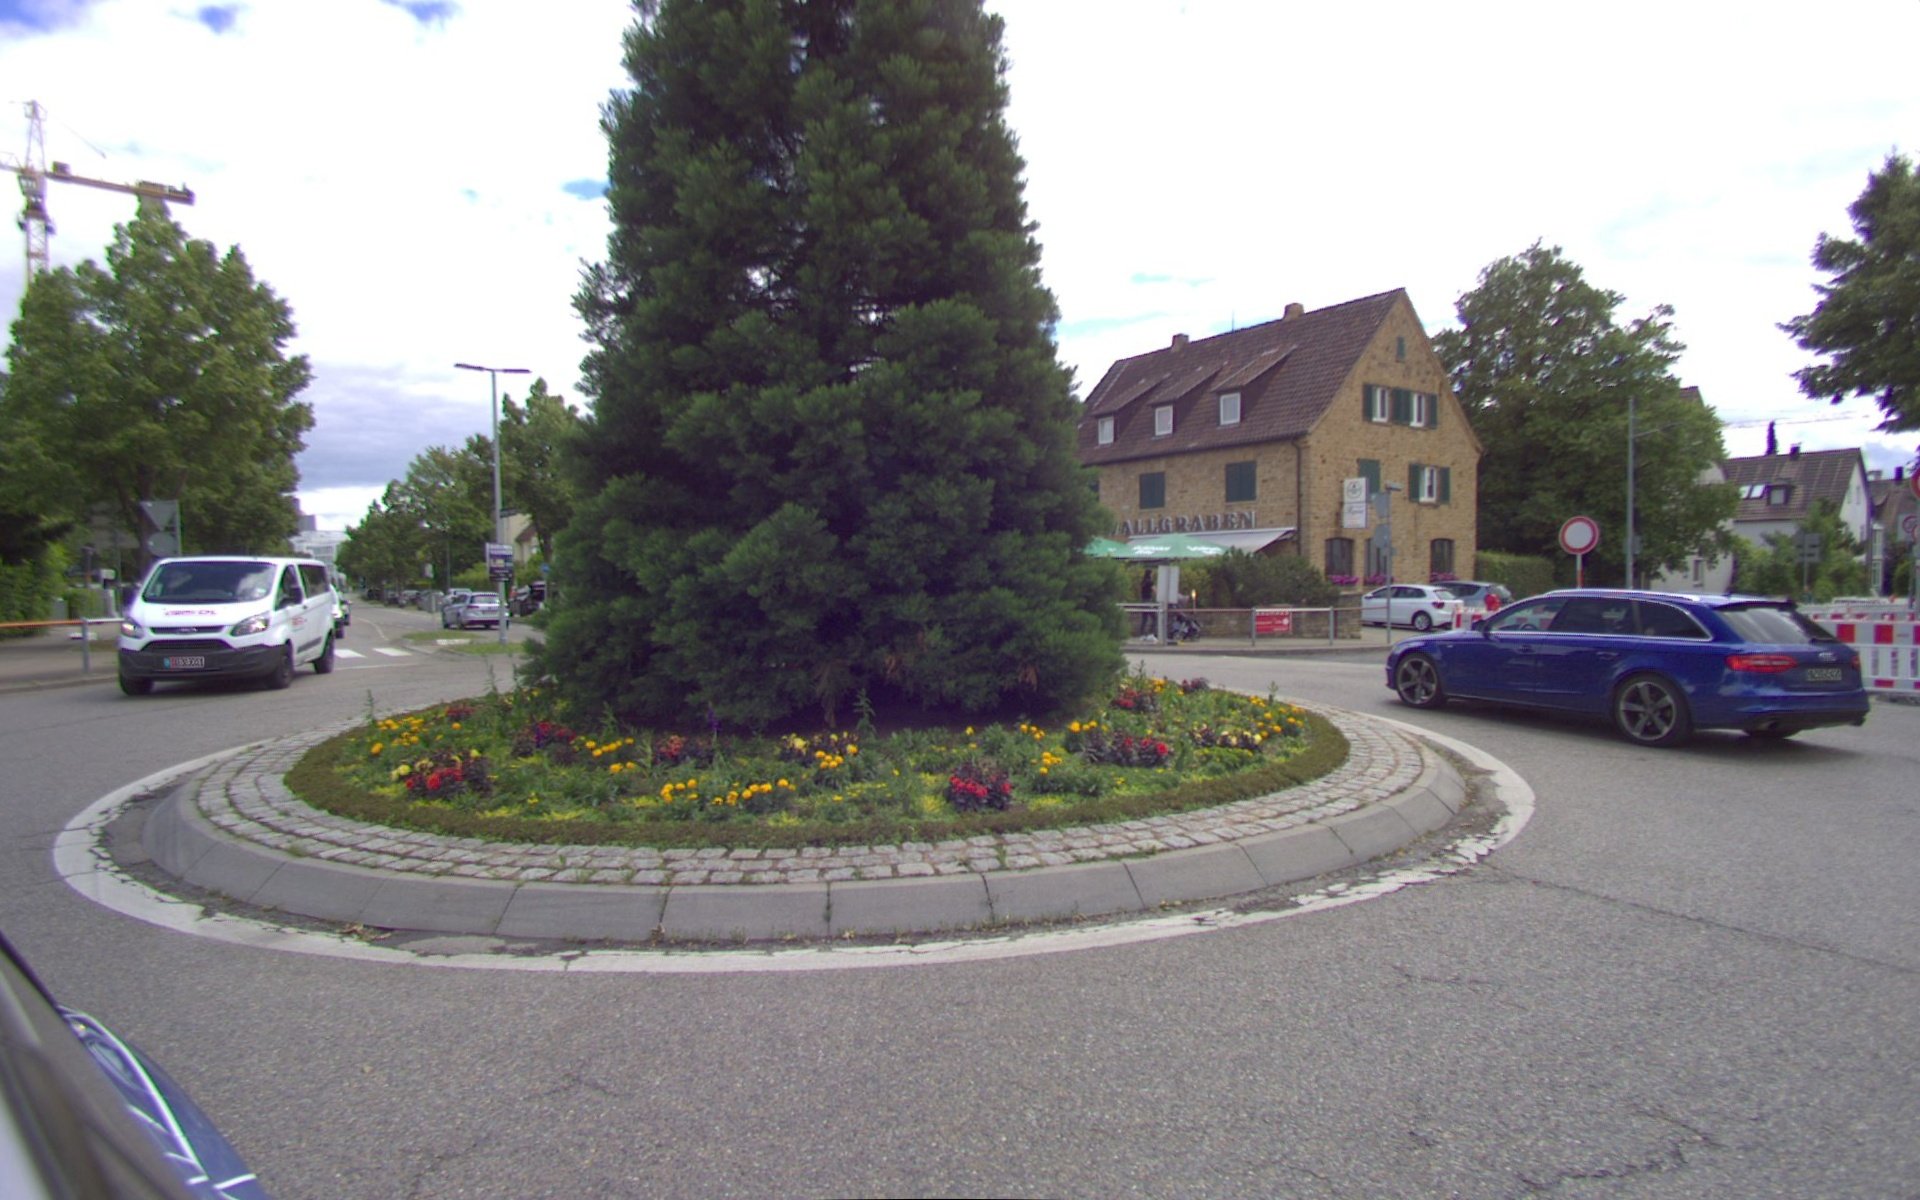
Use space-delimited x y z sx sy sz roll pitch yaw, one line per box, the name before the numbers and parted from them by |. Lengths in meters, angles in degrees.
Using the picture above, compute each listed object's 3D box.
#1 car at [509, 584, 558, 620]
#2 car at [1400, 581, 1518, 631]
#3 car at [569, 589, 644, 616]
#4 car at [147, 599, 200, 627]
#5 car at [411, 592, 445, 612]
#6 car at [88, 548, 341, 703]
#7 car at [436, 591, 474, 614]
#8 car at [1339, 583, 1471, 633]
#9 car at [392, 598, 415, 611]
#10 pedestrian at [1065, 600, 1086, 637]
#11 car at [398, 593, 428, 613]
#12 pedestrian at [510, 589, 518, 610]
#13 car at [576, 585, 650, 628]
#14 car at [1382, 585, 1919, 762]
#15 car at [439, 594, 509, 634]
car | -22.999 0.094 54.506 1.723 1.843 4.059 -2 1 -33
car | 16.495 0.156 33.571 1.374 1.512 3.239 -1 3 -33
car | -21.853 0.149 62.598 3.984 1.551 1.755 -2 1 -41
car | -40.557 0.651 52.246 1.782 1.352 4.011 -2 1 -33
car | -41.164 0.141 78.248 1.639 1.486 3.754 -2 1 -38
car | -11.432 0.298 15.987 1.965 2.029 5.067 -1 1 -22
car | -36.300 0.150 72.739 1.734 1.573 3.754 -2 1 -38
car | 14.265 0.219 32.635 1.444 1.430 3.684 -1 3 -33
car | -51.380 0.416 93.481 1.474 1.175 3.202 -2 1 -36
pedestrian | 2.909 0.466 25.562 0.425 0.919 0.339 -2 2 20
car | -45.606 0.226 84.380 1.585 1.545 3.754 -2 1 -38
pedestrian | -29.318 -0.056 66.484 0.380 1.375 0.414 -2 1 -33
car | -14.455 0.242 42.058 1.724 1.648 4.057 -2 1 -37
car | 6.637 0.559 10.469 1.586 1.382 4.521 0 1 -18
car | -19.435 0.530 40.368 1.777 1.465 4.703 0 0 -35
